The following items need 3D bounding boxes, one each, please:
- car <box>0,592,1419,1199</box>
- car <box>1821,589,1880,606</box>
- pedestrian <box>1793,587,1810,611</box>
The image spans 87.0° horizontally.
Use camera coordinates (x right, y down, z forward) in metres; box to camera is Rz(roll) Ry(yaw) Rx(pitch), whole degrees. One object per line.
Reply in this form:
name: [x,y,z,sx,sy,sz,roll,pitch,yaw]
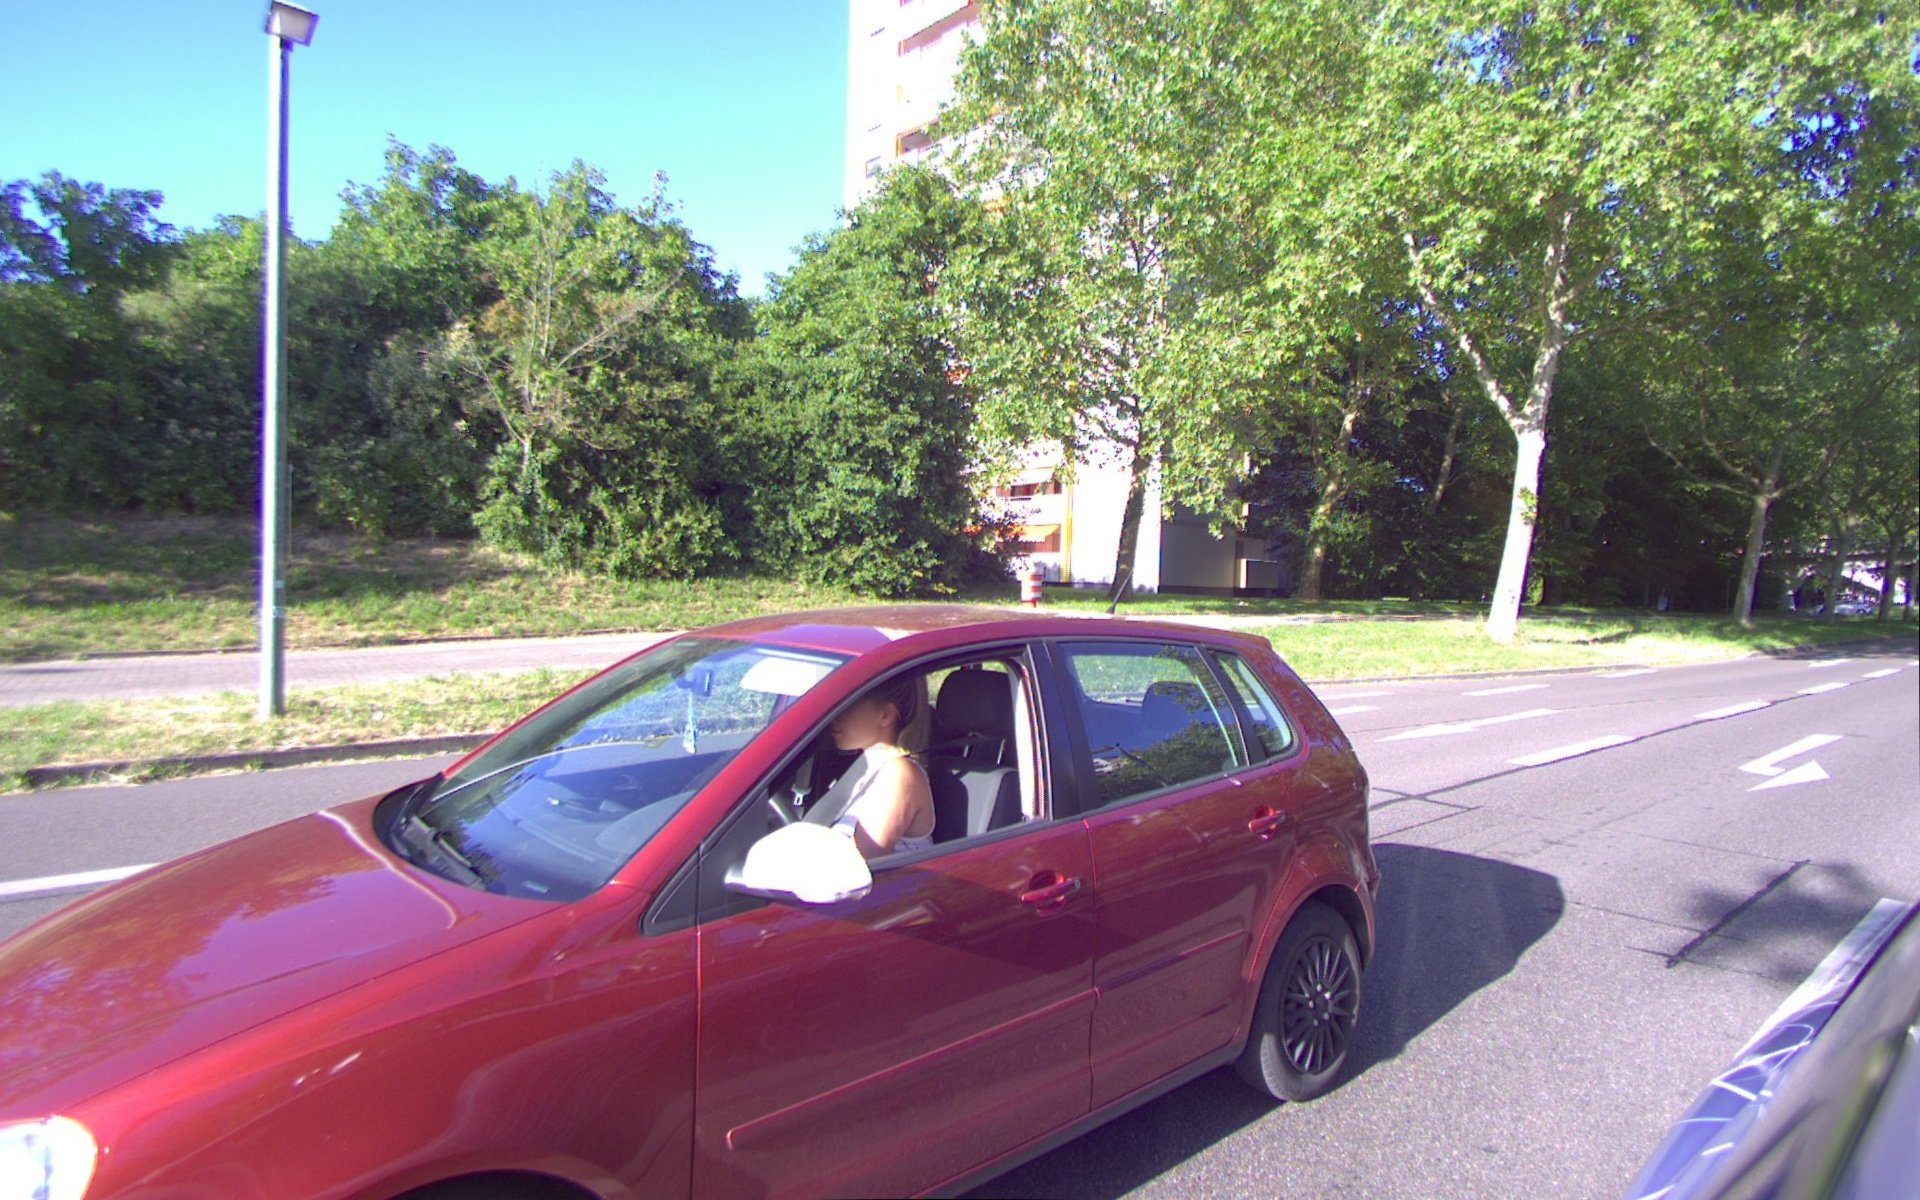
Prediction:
car: [-0.432,0.716,2.779,3.694,1.456,1.645,-1,1,-40]
car: [80.684,-0.225,91.755,3.983,1.493,1.772,0,0,42]
pedestrian: [72.669,-0.060,87.378,0.943,2.039,0.920,0,0,-33]
